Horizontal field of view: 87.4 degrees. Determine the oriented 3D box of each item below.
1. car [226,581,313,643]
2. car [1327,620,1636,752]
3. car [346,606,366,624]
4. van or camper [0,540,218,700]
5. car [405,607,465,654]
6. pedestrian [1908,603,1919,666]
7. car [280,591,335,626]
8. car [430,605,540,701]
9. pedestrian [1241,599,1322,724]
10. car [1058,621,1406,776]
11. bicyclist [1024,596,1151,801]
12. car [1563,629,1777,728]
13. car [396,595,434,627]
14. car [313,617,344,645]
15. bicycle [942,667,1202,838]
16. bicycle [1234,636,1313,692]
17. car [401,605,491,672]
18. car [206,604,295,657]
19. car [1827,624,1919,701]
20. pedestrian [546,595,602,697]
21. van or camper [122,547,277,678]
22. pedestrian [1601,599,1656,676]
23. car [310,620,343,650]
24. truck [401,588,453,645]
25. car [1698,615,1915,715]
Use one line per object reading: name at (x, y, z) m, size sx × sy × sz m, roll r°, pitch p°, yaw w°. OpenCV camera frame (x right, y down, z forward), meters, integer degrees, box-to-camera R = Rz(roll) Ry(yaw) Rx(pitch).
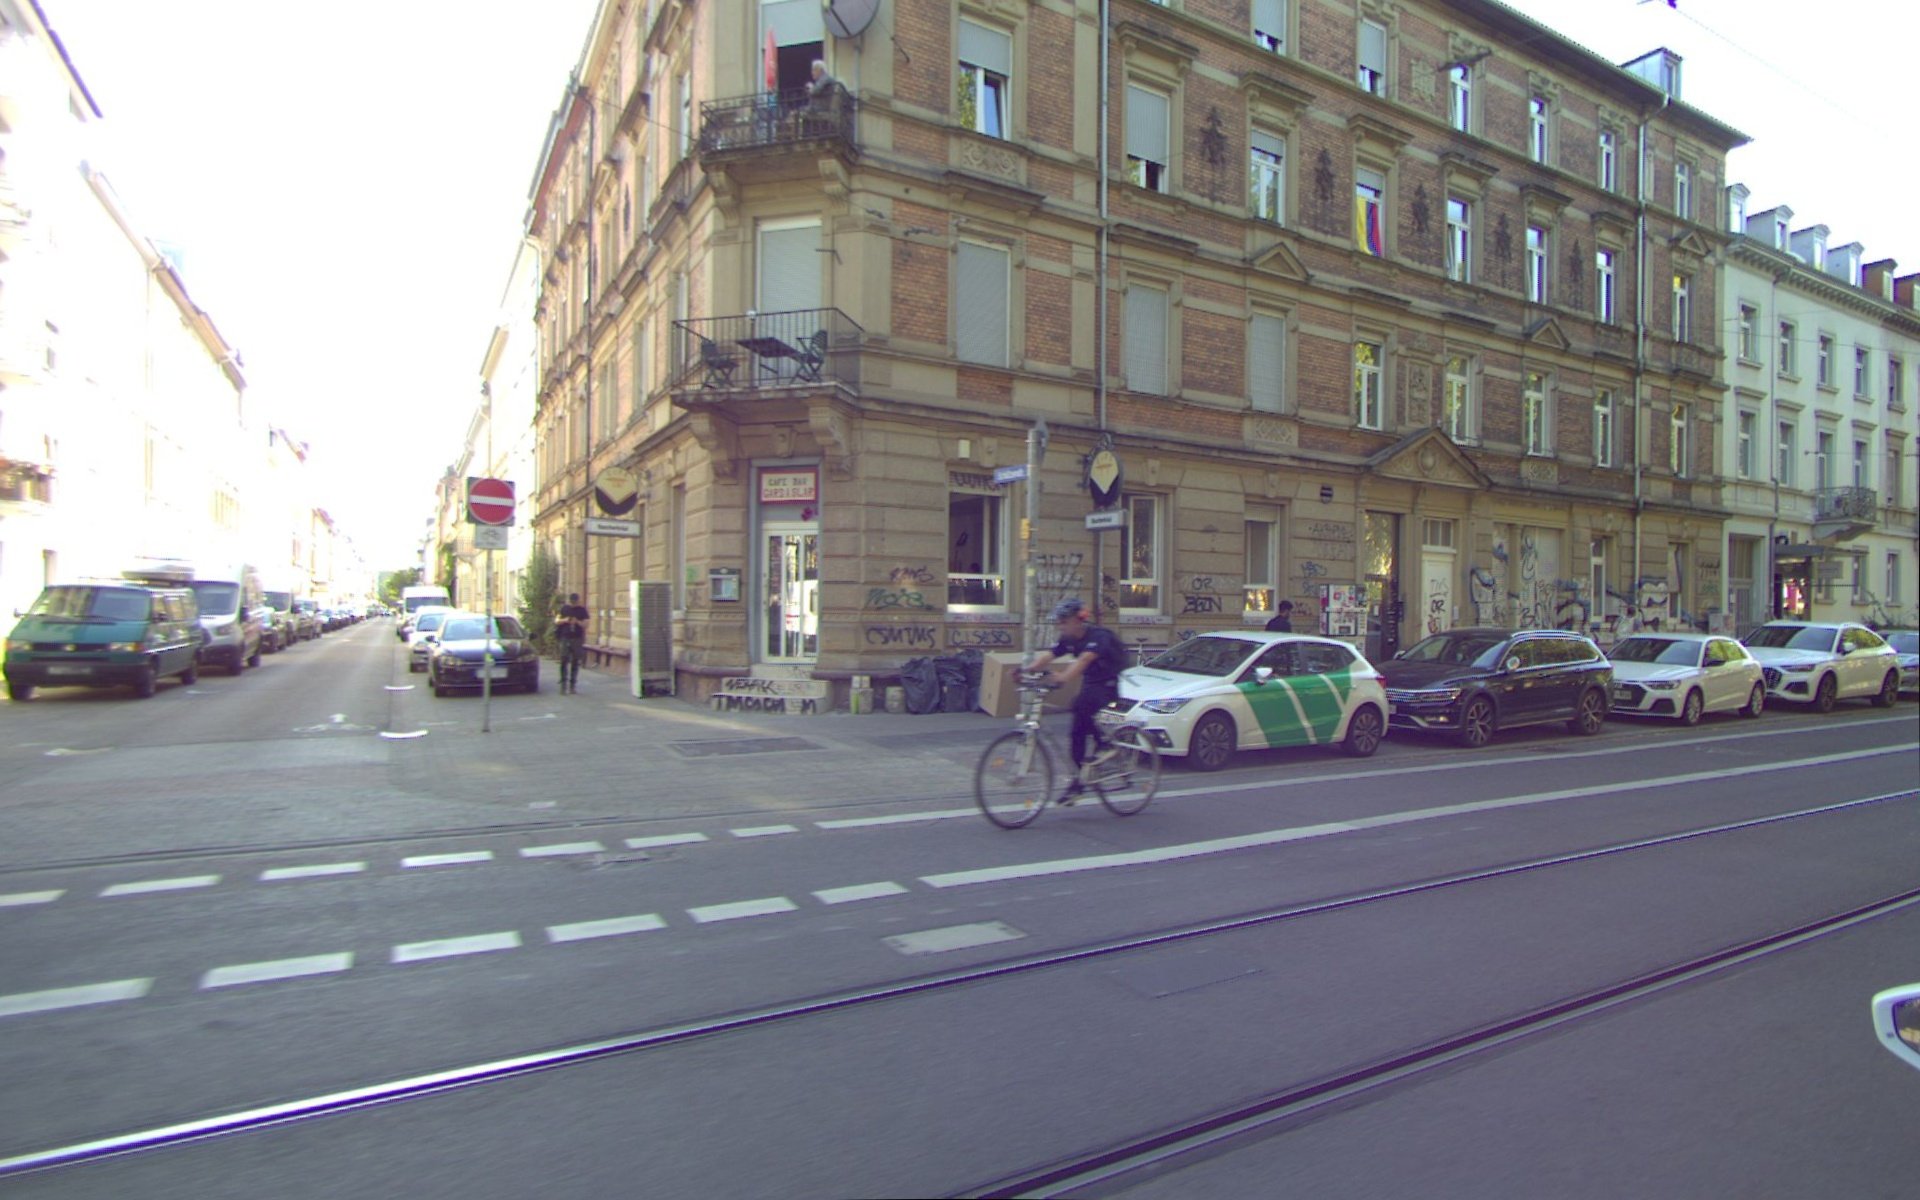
car at (-26.056, 0.454, 38.049) m, size 2.103 × 2.188 × 4.288 m, roll 0°, pitch 0°, yaw -26°
car at (7.603, 1.139, 14.500) m, size 4.731 × 1.583 × 1.732 m, roll 1°, pitch 0°, yaw -31°
car at (-56.941, 1.427, 94.763) m, size 1.568 × 1.616 × 3.414 m, roll 1°, pitch 0°, yaw -31°
van or camper at (-14.934, 0.344, 17.840) m, size 1.996 × 2.418 × 5.083 m, roll 1°, pitch -1°, yaw -27°
car at (-18.865, 1.049, 36.168) m, size 1.832 × 1.595 × 3.653 m, roll 0°, pitch 0°, yaw -27°
pedestrian at (31.792, 1.137, 32.986) m, size 0.820 × 2.040 × 0.755 m, roll 1°, pitch 0°, yaw -31°
car at (-31.625, 0.418, 48.756) m, size 1.832 × 1.595 × 3.653 m, roll 0°, pitch 0°, yaw -27°
car at (-8.842, 0.917, 18.864) m, size 1.697 × 1.606 × 3.163 m, roll -1°, pitch 0°, yaw -24°
pedestrian at (4.934, 0.915, 15.425) m, size 1.048 × 1.825 × 0.678 m, roll 1°, pitch 1°, yaw -39°
car at (3.299, 1.058, 12.006) m, size 3.999 × 1.512 × 1.732 m, roll 1°, pitch 0°, yaw -31°
bicyclist at (0.990, 0.737, 7.832) m, size 0.797 × 1.501 × 0.580 m, roll 1°, pitch -2°, yaw -30°
car at (12.226, 1.264, 17.225) m, size 3.958 × 1.439 × 1.689 m, roll 1°, pitch 0°, yaw -34°
car at (-31.270, 0.594, 57.709) m, size 1.752 × 1.707 × 3.932 m, roll 1°, pitch 0°, yaw -27°
car at (-40.512, 1.964, 64.528) m, size 1.568 × 1.616 × 3.414 m, roll 1°, pitch 0°, yaw -31°
bicycle at (0.923, 1.122, 7.805) m, size 2.206 × 1.165 × 0.419 m, roll 2°, pitch -2°, yaw -31°
bicycle at (6.096, 1.228, 19.498) m, size 1.828 × 1.048 × 0.370 m, roll 1°, pitch -1°, yaw -33°
car at (-13.113, 0.933, 25.811) m, size 1.829 × 1.595 × 3.658 m, roll 0°, pitch 0°, yaw -24°
car at (-22.802, 0.937, 32.411) m, size 1.832 × 1.595 × 3.653 m, roll 0°, pitch 0°, yaw -27°
car at (21.328, 1.366, 22.579) m, size 4.019 × 1.541 × 1.653 m, roll 1°, pitch 0°, yaw -32°
pedestrian at (-6.927, 0.798, 18.030) m, size 0.881 × 1.772 × 0.654 m, roll -1°, pitch 1°, yaw -26°
van or camper at (-17.816, 0.292, 23.848) m, size 2.131 × 2.705 × 5.964 m, roll 0°, pitch -1°, yaw -29°
pedestrian at (14.991, 0.825, 22.537) m, size 0.753 × 1.687 × 0.665 m, roll 1°, pitch 1°, yaw 2°
car at (-38.083, 2.072, 60.407) m, size 1.568 × 1.616 × 3.414 m, roll 1°, pitch 0°, yaw -31°
truck at (-24.909, 0.754, 47.044) m, size 2.065 × 2.548 × 4.822 m, roll 0°, pitch 0°, yaw -27°
car at (16.795, 1.221, 19.883) m, size 4.662 × 1.746 × 1.778 m, roll 1°, pitch 0°, yaw -30°
